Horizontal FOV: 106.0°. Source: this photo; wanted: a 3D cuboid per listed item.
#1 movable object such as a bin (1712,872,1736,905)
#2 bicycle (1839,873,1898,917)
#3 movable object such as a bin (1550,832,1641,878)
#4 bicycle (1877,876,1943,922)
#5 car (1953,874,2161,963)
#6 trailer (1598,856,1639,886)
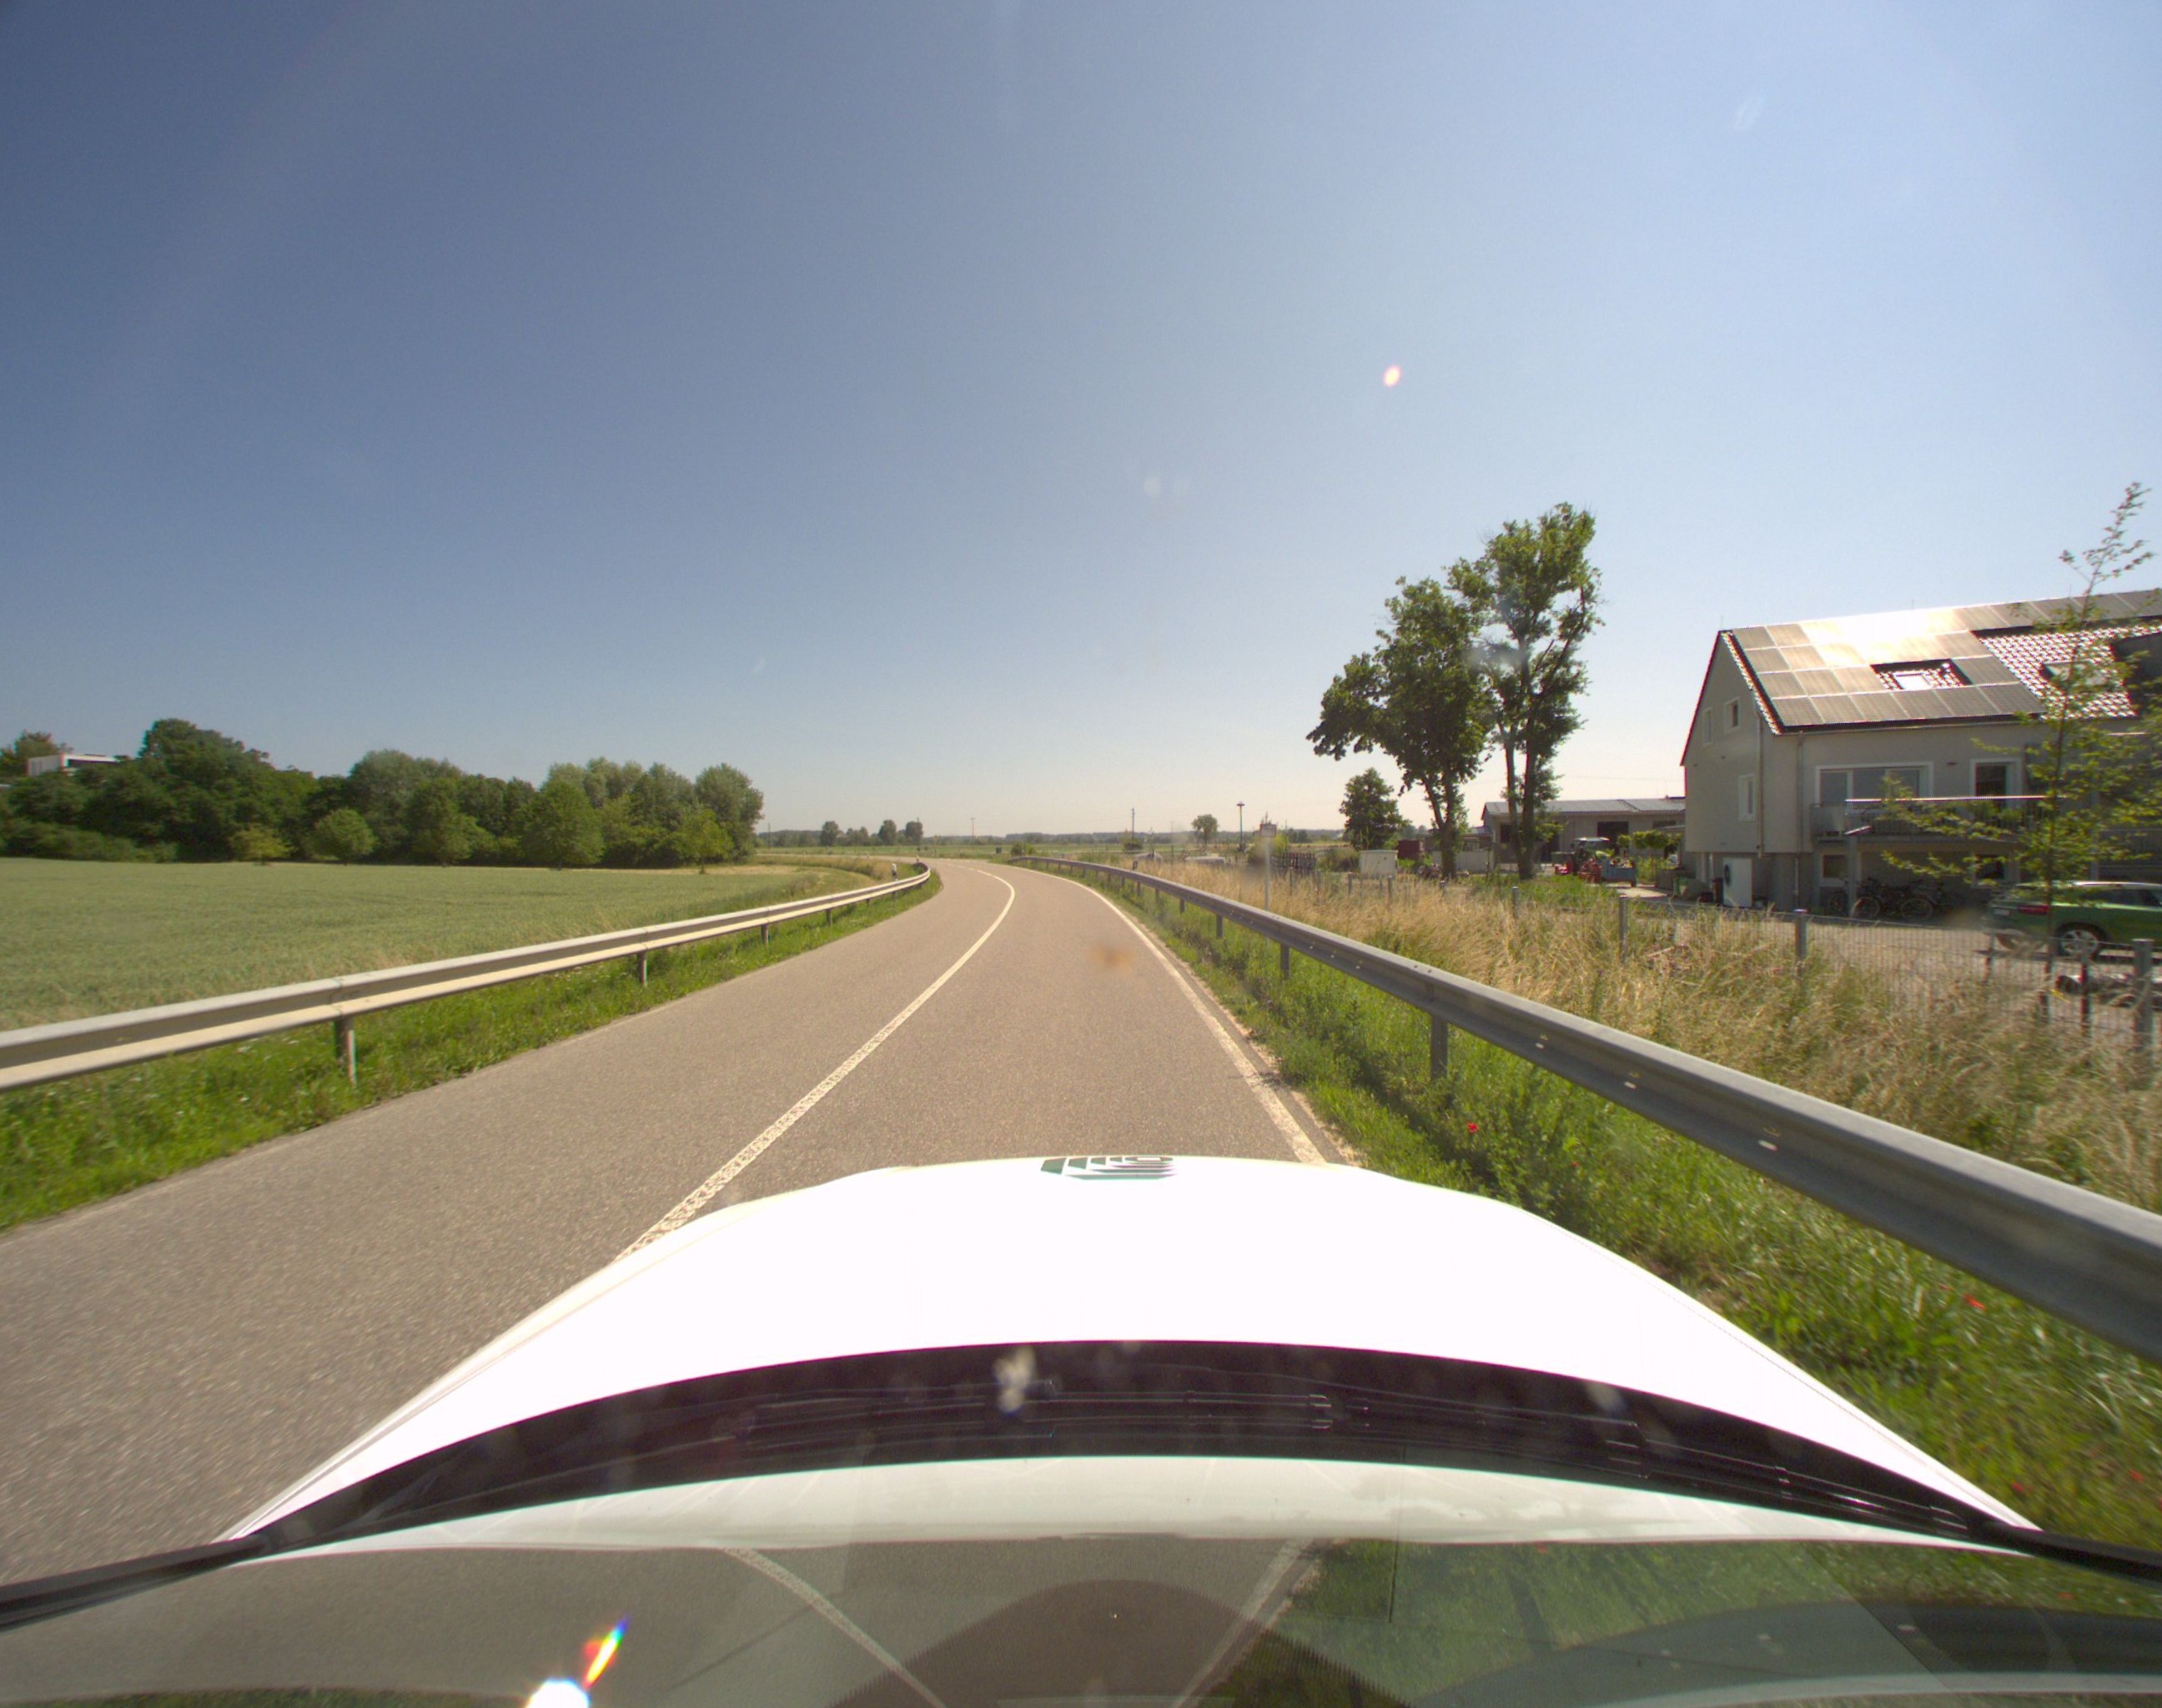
[{"bbox_3d":[23.535,1.246,29.820,0.571,1.150,0.665,0,0,27],"label":"movable object such as a bin"},{"bbox_3d":[23.490,1.202,24.341,0.706,1.191,1.982,1,1,27],"label":"bicycle"},{"bbox_3d":[33.474,-0.009,53.310,2.982,2.769,6.527,1,1,12],"label":"movable object such as a bin"},{"bbox_3d":[24.334,1.300,23.947,0.706,1.191,1.981,1,1,25],"label":"bicycle"},{"bbox_3d":[20.602,1.262,16.002,4.320,1.580,1.944,1,-1,25],"label":"car"},{"bbox_3d":[28.208,0.874,42.796,1.694,1.496,3.160,0,-1,31],"label":"trailer"}]
